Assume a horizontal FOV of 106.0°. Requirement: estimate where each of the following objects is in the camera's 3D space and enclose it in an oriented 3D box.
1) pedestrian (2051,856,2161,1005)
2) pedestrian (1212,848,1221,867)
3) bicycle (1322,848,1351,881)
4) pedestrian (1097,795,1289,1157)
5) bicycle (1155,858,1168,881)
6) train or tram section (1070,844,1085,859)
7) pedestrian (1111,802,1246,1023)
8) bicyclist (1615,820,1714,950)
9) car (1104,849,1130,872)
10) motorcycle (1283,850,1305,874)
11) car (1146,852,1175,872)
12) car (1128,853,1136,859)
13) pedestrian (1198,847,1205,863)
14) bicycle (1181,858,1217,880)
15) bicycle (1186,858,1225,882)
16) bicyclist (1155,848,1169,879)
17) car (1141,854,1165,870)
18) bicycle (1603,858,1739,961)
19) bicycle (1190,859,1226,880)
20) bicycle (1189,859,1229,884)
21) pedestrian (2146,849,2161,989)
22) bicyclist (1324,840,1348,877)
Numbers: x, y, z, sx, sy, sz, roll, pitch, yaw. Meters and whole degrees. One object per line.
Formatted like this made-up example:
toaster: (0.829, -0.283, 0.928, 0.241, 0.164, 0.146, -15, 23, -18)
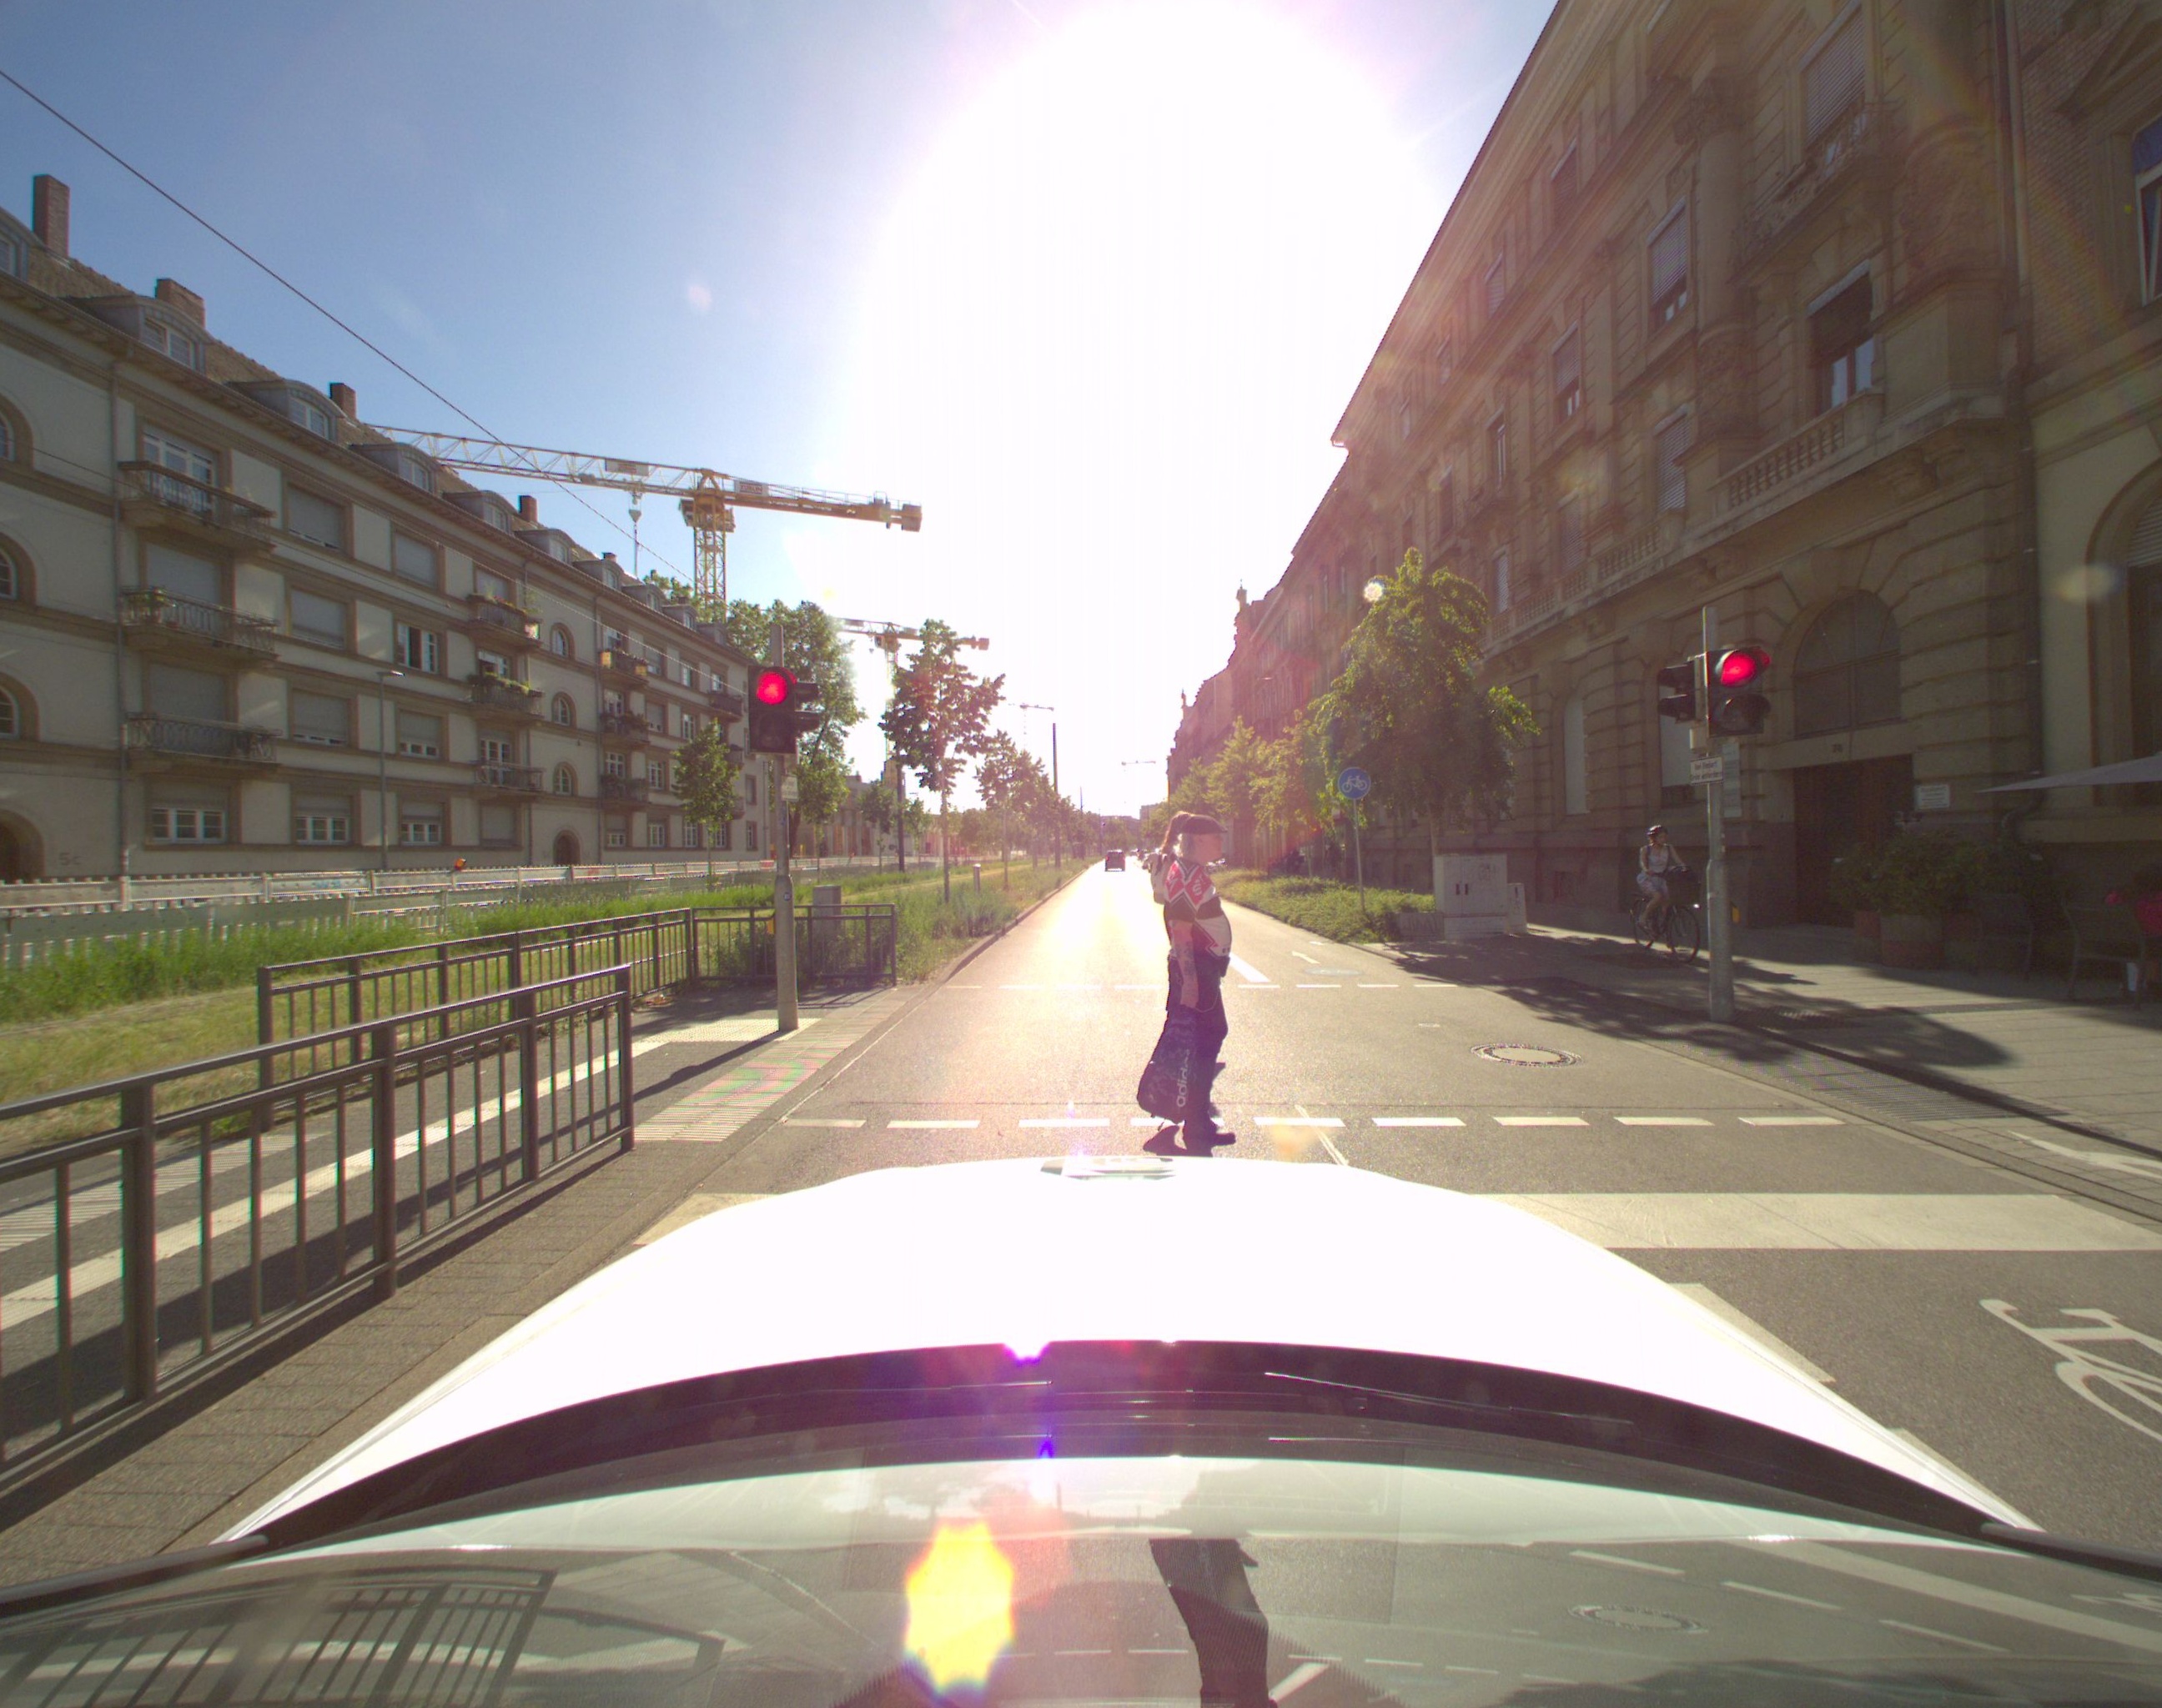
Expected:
pedestrian: (9.083, 0.629, 6.988, 0.703, 1.178, 0.635, -3, 0, 1)
pedestrian: (11.590, 0.299, 69.610, 0.611, 1.611, 0.669, -2, 0, 1)
bicycle: (10.884, 0.431, 34.756, 0.613, 1.330, 1.901, -6, 0, 3)
pedestrian: (0.574, 0.602, 4.554, 0.863, 1.788, 0.969, -1, 0, -5)
bicycle: (4.399, 0.838, 44.607, 0.599, 1.181, 1.870, 0, 0, 1)
train or tram section: (-0.730, -0.408, 160.426, 2.747, 2.743, 9.864, 0, -1, 1)
pedestrian: (0.871, 0.505, 7.492, 1.073, 1.908, 0.652, -2, 0, -5)
bicyclist: (7.742, 0.390, 10.841, 0.662, 1.639, 0.962, -2, 0, 7)
car: (3.186, 0.544, 73.533, 2.192, 1.926, 4.655, -2, 0, 2)
motorcycle: (11.519, 0.403, 44.039, 0.697, 1.267, 1.983, -2, 0, 2)
car: (6.563, 0.637, 67.344, 2.020, 1.499, 4.655, -2, 0, 2)
car: (13.174, 0.512, 211.676, 1.986, 1.729, 4.001, 0, -1, 2)
pedestrian: (12.476, 0.108, 84.614, 0.611, 1.611, 0.669, -2, 0, 1)
bicycle: (6.364, 0.798, 43.891, 1.786, 1.030, 0.528, -6, 0, 1)
bicycle: (6.260, 0.799, 40.941, 1.786, 1.030, 0.528, -6, 0, 1)
bicyclist: (4.437, 0.518, 44.824, 0.681, 1.673, 0.922, 0, 0, 1)
car: (6.994, 0.737, 79.787, 2.020, 1.499, 4.532, -2, 0, 2)
bicycle: (7.795, 0.686, 10.874, 0.580, 1.222, 1.903, -2, 0, 6)
bicycle: (6.605, 0.811, 42.477, 1.786, 1.030, 0.528, -2, 0, 1)
bicycle: (6.225, 0.829, 39.567, 1.786, 1.030, 0.528, -6, 0, 1)
pedestrian: (9.929, 0.562, 6.978, 0.703, 1.236, 0.635, -3, 0, 1)
bicyclist: (10.840, 0.189, 34.695, 0.657, 1.530, 0.801, -6, 0, 3)
